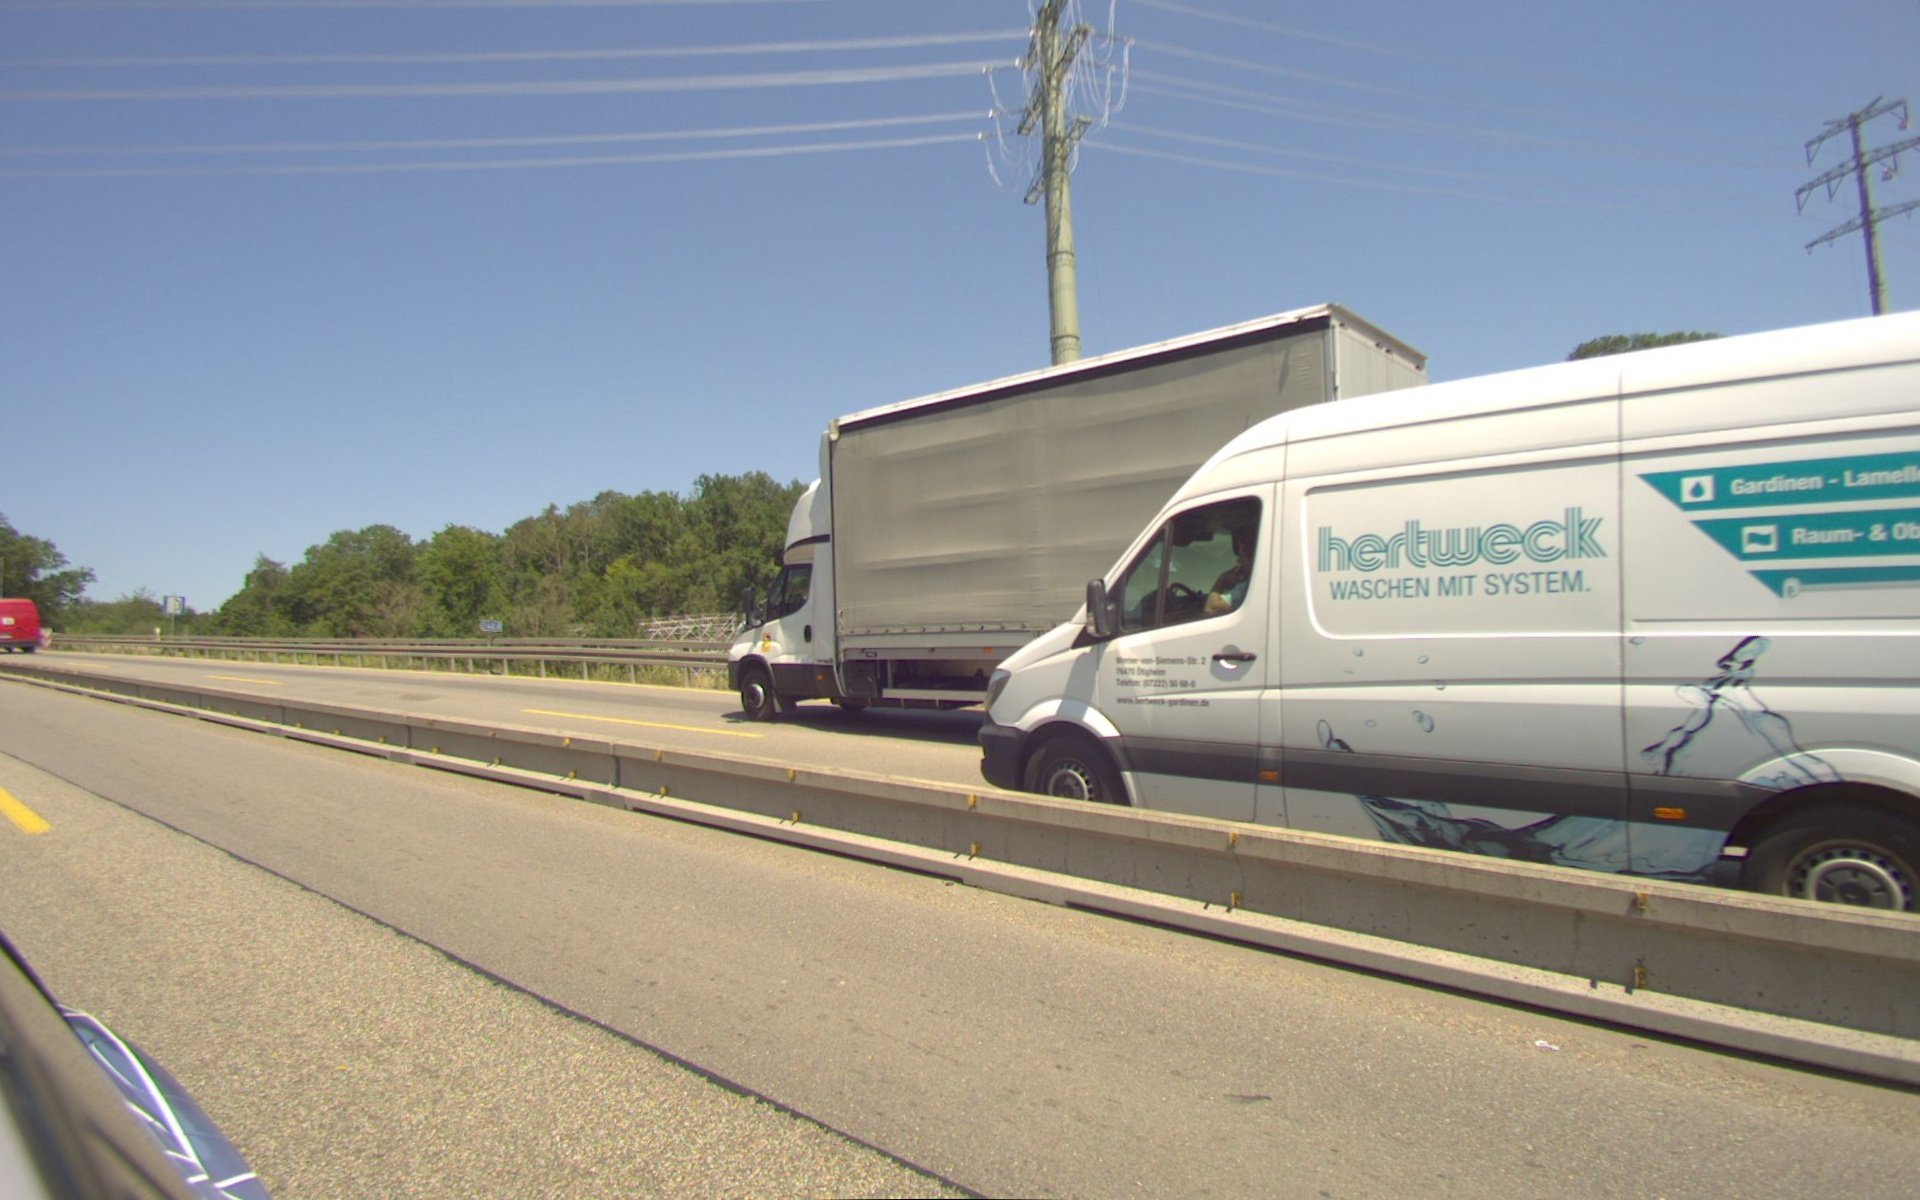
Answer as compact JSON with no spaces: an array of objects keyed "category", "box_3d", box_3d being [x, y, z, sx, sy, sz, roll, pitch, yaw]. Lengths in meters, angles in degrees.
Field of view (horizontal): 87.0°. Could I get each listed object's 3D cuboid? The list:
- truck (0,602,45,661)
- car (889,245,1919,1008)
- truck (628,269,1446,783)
[{"category":"truck","box_3d":[-49.925,1.603,52.604,6.485,2.885,2.185,-1,0,36]},{"category":"car","box_3d":[2.624,0.115,5.587,6.659,2.700,1.949,-1,-1,42]},{"category":"truck","box_3d":[-0.058,-0.540,12.499,10.549,4.030,2.771,-1,0,42]}]
